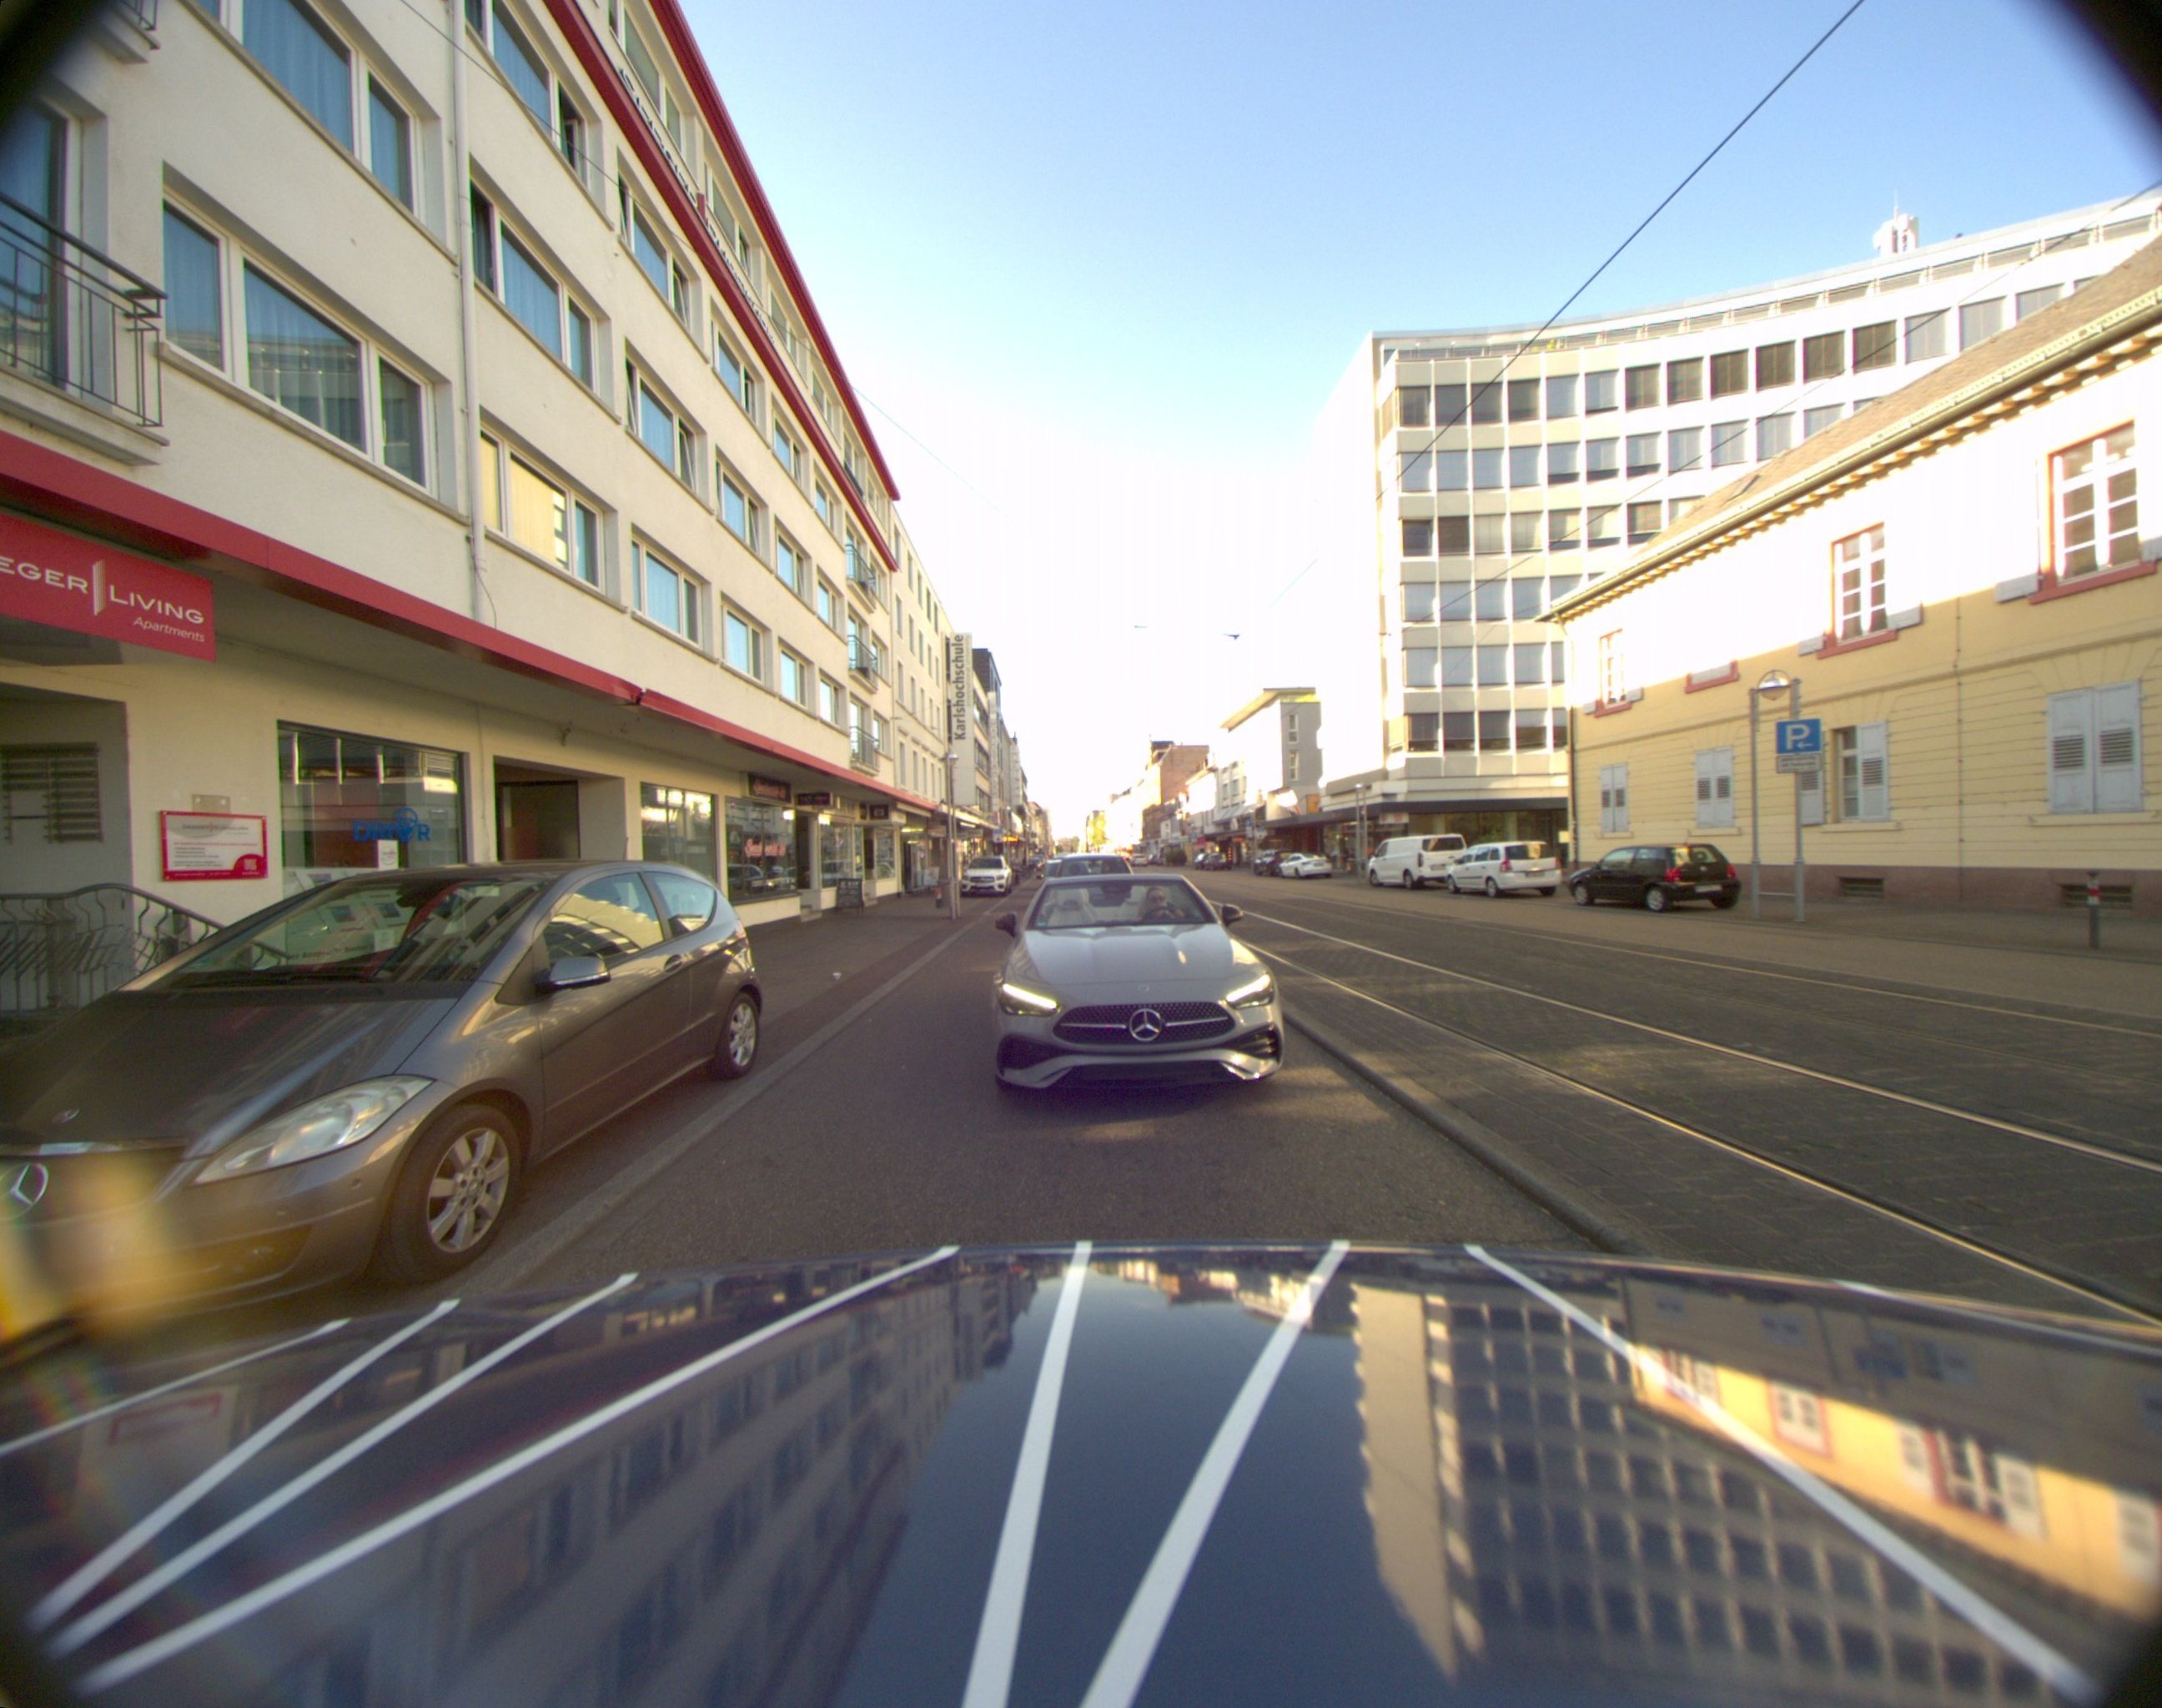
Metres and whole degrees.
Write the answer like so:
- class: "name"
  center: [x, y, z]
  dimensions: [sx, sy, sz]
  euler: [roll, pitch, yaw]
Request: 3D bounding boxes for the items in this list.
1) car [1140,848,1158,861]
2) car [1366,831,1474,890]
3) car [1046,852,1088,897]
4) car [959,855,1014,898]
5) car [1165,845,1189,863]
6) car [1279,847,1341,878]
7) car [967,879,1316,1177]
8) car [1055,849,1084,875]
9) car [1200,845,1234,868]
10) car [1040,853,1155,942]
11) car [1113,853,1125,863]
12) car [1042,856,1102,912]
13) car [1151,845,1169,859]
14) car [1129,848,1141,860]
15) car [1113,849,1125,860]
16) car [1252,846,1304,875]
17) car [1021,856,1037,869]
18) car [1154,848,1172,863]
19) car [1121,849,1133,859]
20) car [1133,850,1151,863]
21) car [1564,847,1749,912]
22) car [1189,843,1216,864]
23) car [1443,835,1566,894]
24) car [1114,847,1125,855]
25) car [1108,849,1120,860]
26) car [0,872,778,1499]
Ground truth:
- class: "car"
  center: [10.620, 0.030, 119.486]
  dimensions: [1.999, 2.002, 5.319]
  euler: [-1, 0, -3]
- class: "car"
  center: [12.672, 0.231, 28.777]
  dimensions: [2.040, 2.002, 4.621]
  euler: [-1, 0, 1]
- class: "car"
  center: [-0.596, 0.807, 31.951]
  dimensions: [1.573, 1.670, 3.688]
  euler: [-2, 1, -1]
- class: "car"
  center: [-3.856, 0.889, 31.706]
  dimensions: [1.999, 1.620, 3.998]
  euler: [-1, 0, -4]
- class: "car"
  center: [11.394, 0.023, 90.493]
  dimensions: [2.200, 2.030, 3.999]
  euler: [-1, 0, -1]
- class: "car"
  center: [12.619, 0.420, 42.243]
  dimensions: [1.999, 1.521, 4.373]
  euler: [-2, 1, -1]
- class: "car"
  center: [0.205, 1.011, 6.173]
  dimensions: [1.884, 1.375, 3.998]
  euler: [-2, 1, -4]
- class: "car"
  center: [-0.867, 0.563, 56.549]
  dimensions: [1.999, 1.793, 3.999]
  euler: [-2, 1, -1]
- class: "car"
  center: [11.691, 0.229, 65.520]
  dimensions: [1.999, 1.849, 3.998]
  euler: [-2, 1, -2]
- class: "car"
  center: [0.195, 0.782, 15.660]
  dimensions: [1.927, 1.533, 3.998]
  euler: [-2, 0, -4]
- class: "car"
  center: [6.540, 0.643, 130.536]
  dimensions: [1.964, 1.499, 4.000]
  euler: [-2, 1, 4]
- class: "car"
  center: [-0.301, 0.860, 23.548]
  dimensions: [1.648, 1.506, 3.844]
  euler: [-2, 0, -1]
- class: "car"
  center: [11.558, -0.338, 111.394]
  dimensions: [1.999, 2.002, 3.998]
  euler: [-2, 1, -2]
- class: "car"
  center: [9.569, 0.023, 134.593]
  dimensions: [1.998, 2.002, 4.000]
  euler: [-1, 0, 2]
- class: "car"
  center: [7.587, 0.121, 151.353]
  dimensions: [1.999, 2.002, 3.998]
  euler: [-2, 1, -2]
- class: "car"
  center: [12.319, 0.362, 47.673]
  dimensions: [1.999, 1.694, 4.107]
  euler: [-3, 1, -2]
- class: "car"
  center: [-6.248, 0.961, 91.330]
  dimensions: [1.714, 1.430, 3.756]
  euler: [-2, 1, -1]
- class: "car"
  center: [10.858, 0.191, 100.917]
  dimensions: [1.998, 2.002, 4.000]
  euler: [-1, 0, 1]
- class: "car"
  center: [9.529, -0.027, 157.318]
  dimensions: [1.999, 2.002, 3.999]
  euler: [-1, 0, -2]
- class: "car"
  center: [7.653, 0.323, 95.240]
  dimensions: [1.760, 1.587, 3.999]
  euler: [-1, 0, -2]
- class: "car"
  center: [12.798, 0.507, 17.153]
  dimensions: [1.688, 1.246, 3.212]
  euler: [-2, 1, -1]
- class: "car"
  center: [11.809, -0.047, 73.984]
  dimensions: [1.789, 1.870, 3.999]
  euler: [-1, 0, -2]
- class: "car"
  center: [12.752, 0.268, 23.192]
  dimensions: [1.641, 1.600, 4.005]
  euler: [-2, 1, 3]
- class: "car"
  center: [9.015, -0.765, 176.555]
  dimensions: [2.148, 1.850, 3.998]
  euler: [-2, 1, -2]
- class: "car"
  center: [6.171, 0.070, 143.382]
  dimensions: [1.914, 1.883, 3.855]
  euler: [-2, 1, -2]
- class: "car"
  center: [-3.218, 0.940, 3.974]
  dimensions: [1.683, 1.537, 3.999]
  euler: [-2, 0, -1]
